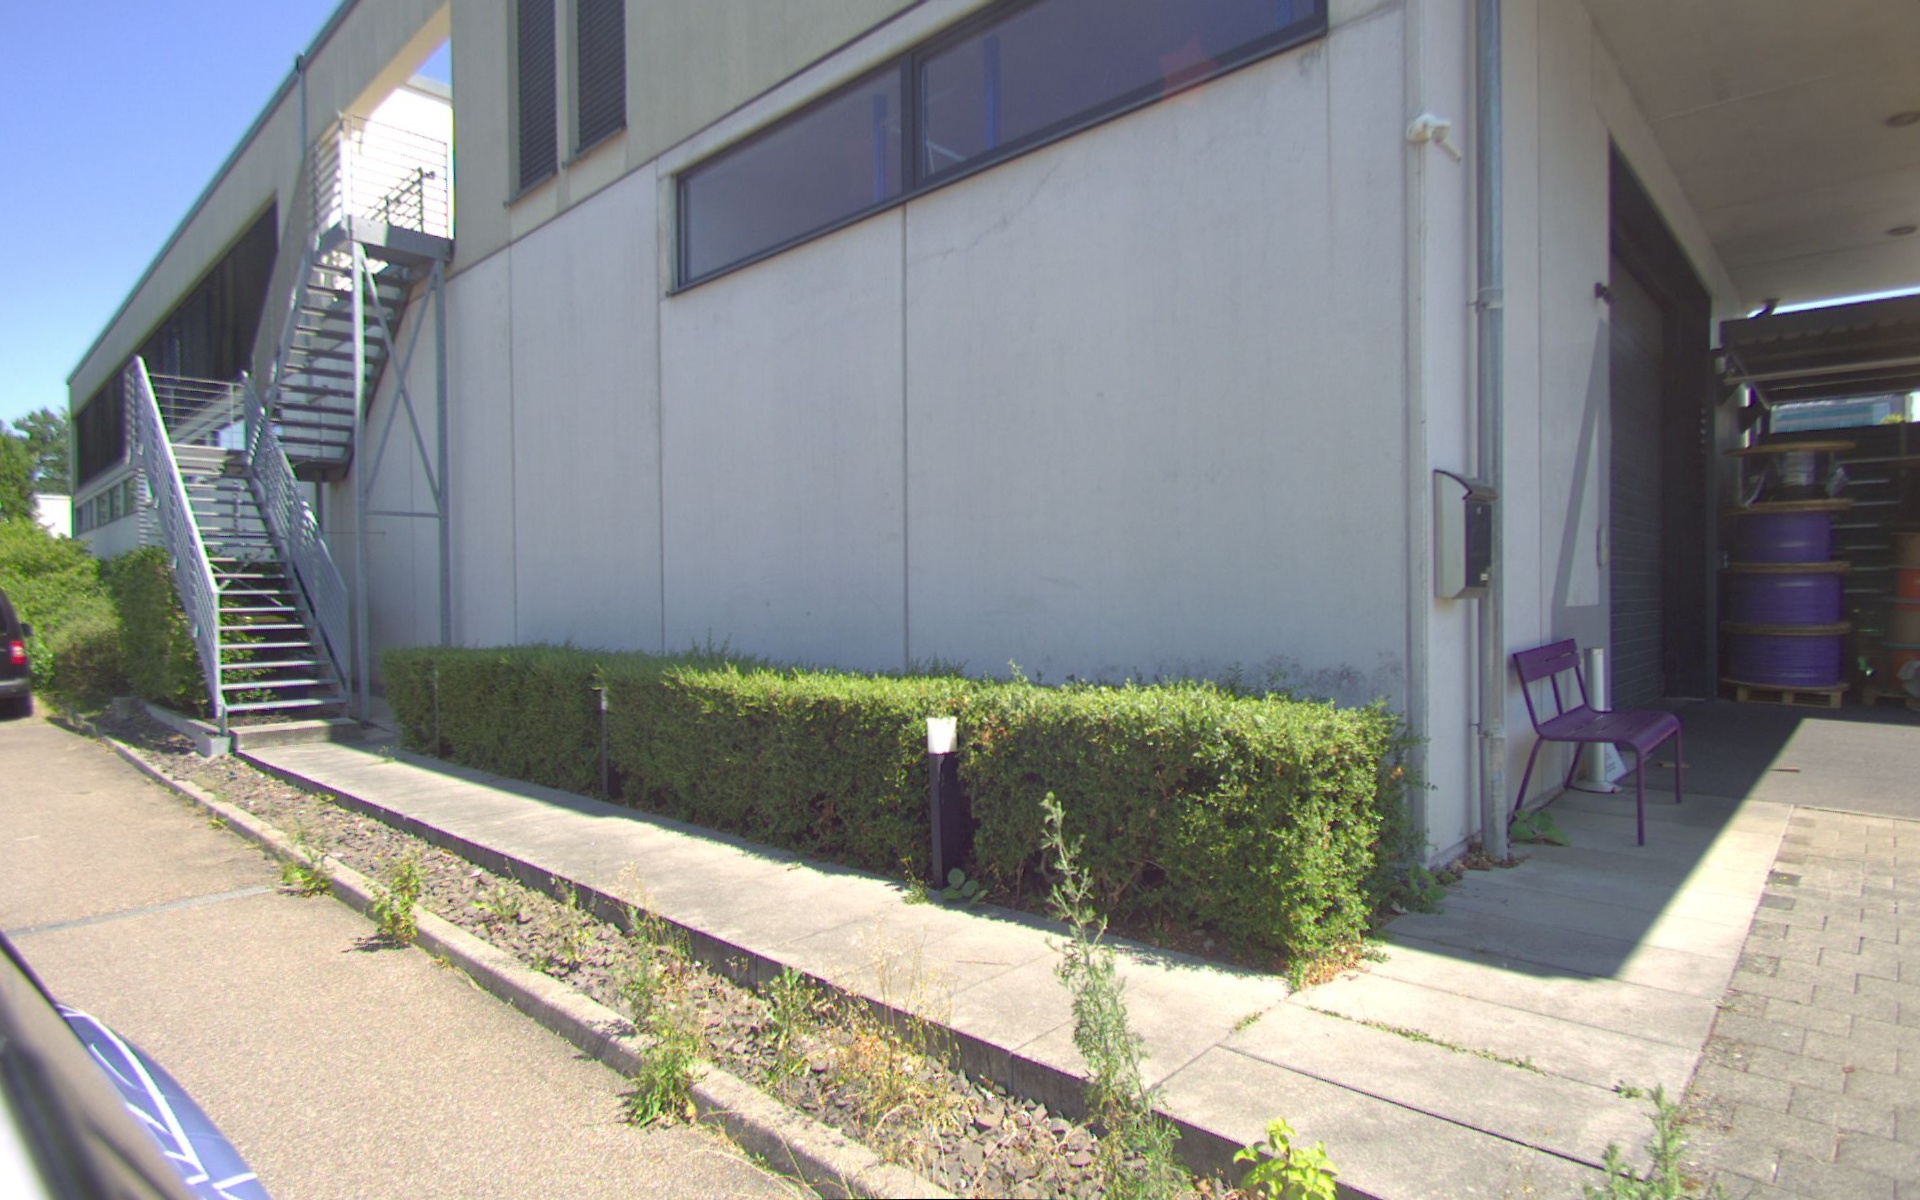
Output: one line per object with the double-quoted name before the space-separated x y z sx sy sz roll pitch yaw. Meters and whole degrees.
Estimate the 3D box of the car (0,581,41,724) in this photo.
"car" -14.487 0.733 14.269 4.228 1.874 1.842 -1 1 43
